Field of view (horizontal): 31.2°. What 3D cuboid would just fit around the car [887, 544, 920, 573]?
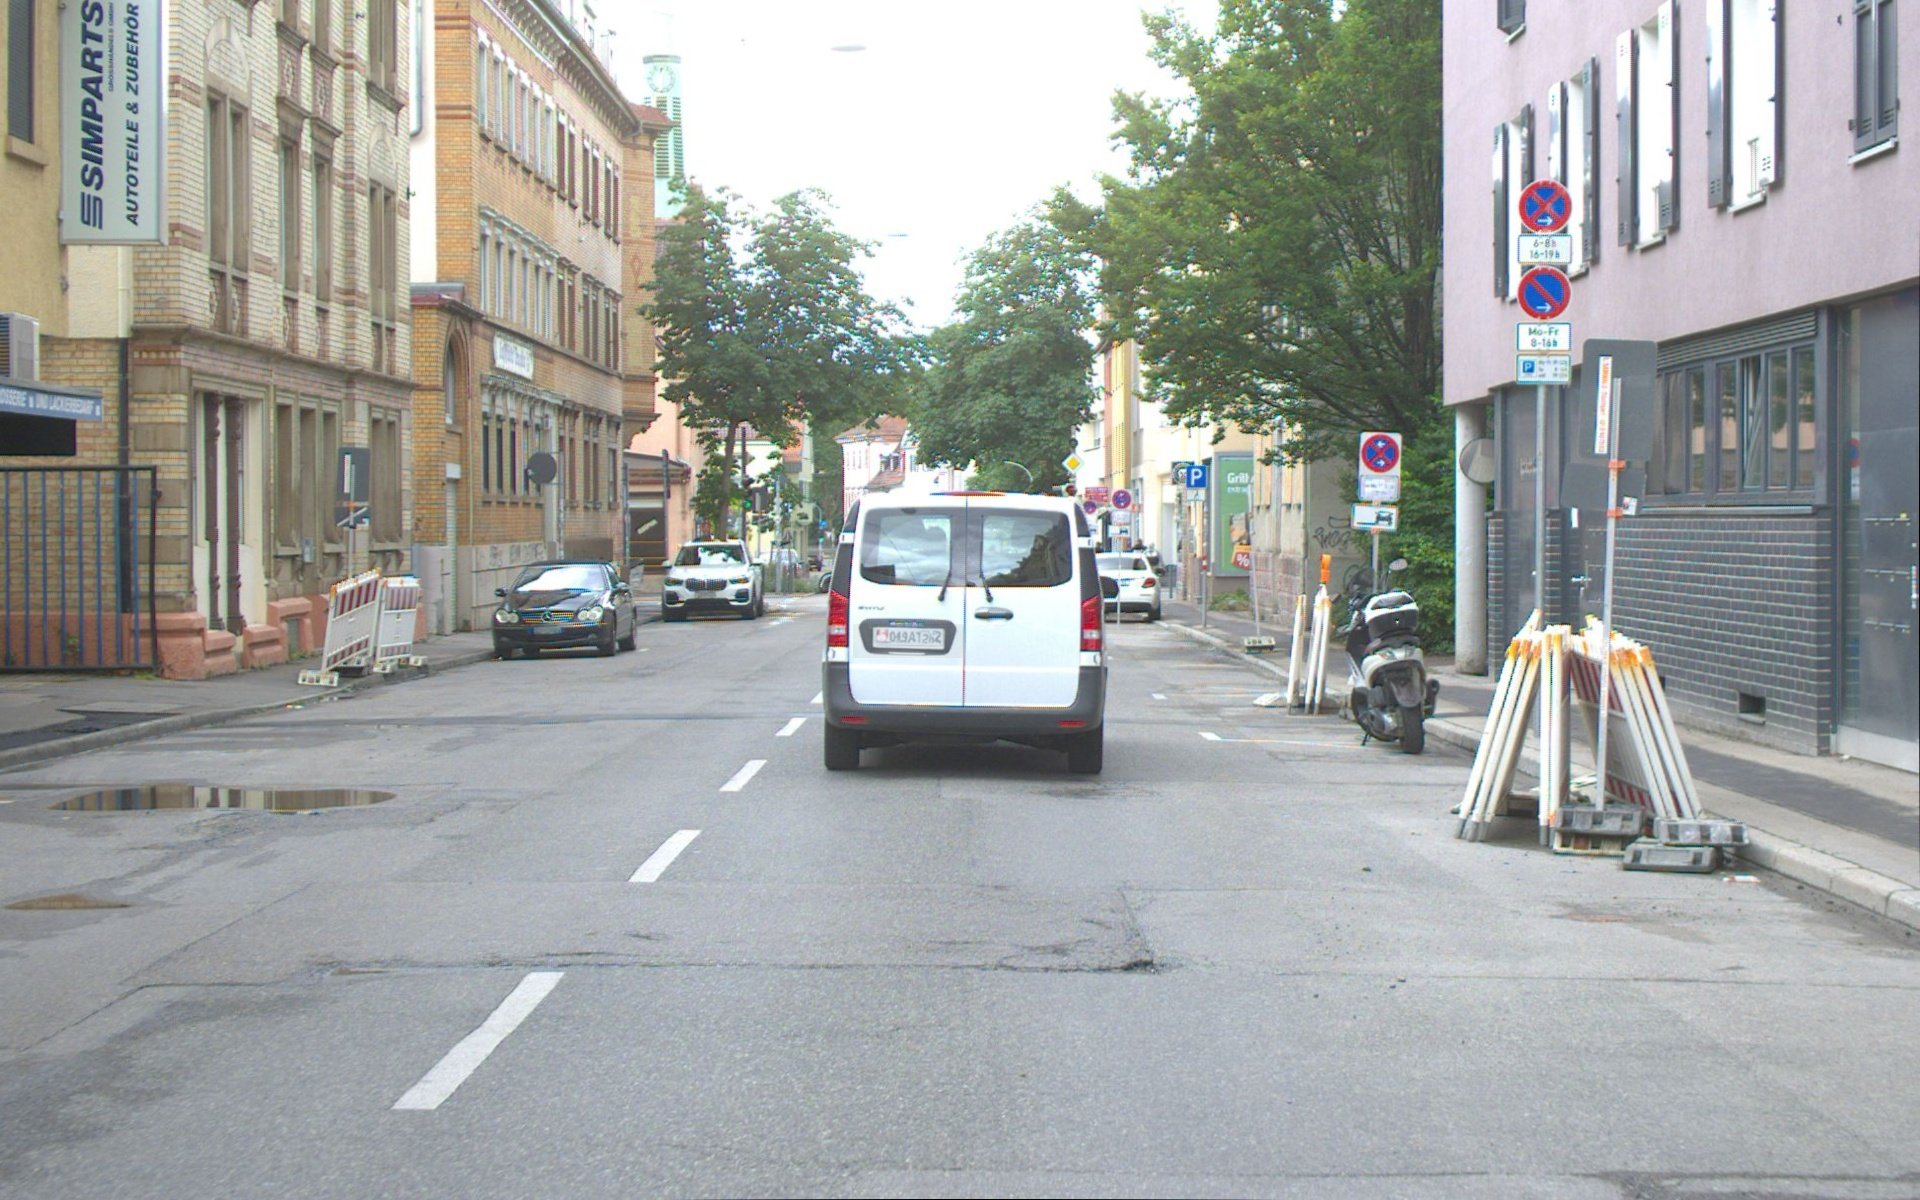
[{"bbox_3d":[-3.219,-2.385,197.468,1.754,1.667,3.669,0,1,1],"label":"car"}]

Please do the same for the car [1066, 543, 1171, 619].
[{"bbox_3d":[3.420,-0.433,74.970,1.993,1.480,4.000,4,1,0],"label":"car"}]

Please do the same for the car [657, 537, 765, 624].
[{"bbox_3d":[-5.401,-0.449,74.944,1.993,1.735,4.000,4,1,0],"label":"car"}]

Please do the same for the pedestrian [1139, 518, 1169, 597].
[{"bbox_3d":[5.036,-1.103,89.309,0.623,2.007,0.907,4,1,5],"label":"pedestrian"}]

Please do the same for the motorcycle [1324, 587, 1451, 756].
[{"bbox_3d":[3.330,0.535,26.964,0.643,1.242,2.268,1,1,-1],"label":"motorcycle"}]

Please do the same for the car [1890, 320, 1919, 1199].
[{"bbox_3d":[2.931,0.519,4.374,2.128,1.998,4.926,2,1,0],"label":"car"}]

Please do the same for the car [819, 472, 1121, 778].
[{"bbox_3d":[0.064,0.133,24.303,1.891,1.922,4.645,1,1,0],"label":"car"}]

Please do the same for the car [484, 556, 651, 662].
[{"bbox_3d":[-5.703,0.102,50.384,1.993,1.437,4.000,-1,1,0],"label":"car"}]
